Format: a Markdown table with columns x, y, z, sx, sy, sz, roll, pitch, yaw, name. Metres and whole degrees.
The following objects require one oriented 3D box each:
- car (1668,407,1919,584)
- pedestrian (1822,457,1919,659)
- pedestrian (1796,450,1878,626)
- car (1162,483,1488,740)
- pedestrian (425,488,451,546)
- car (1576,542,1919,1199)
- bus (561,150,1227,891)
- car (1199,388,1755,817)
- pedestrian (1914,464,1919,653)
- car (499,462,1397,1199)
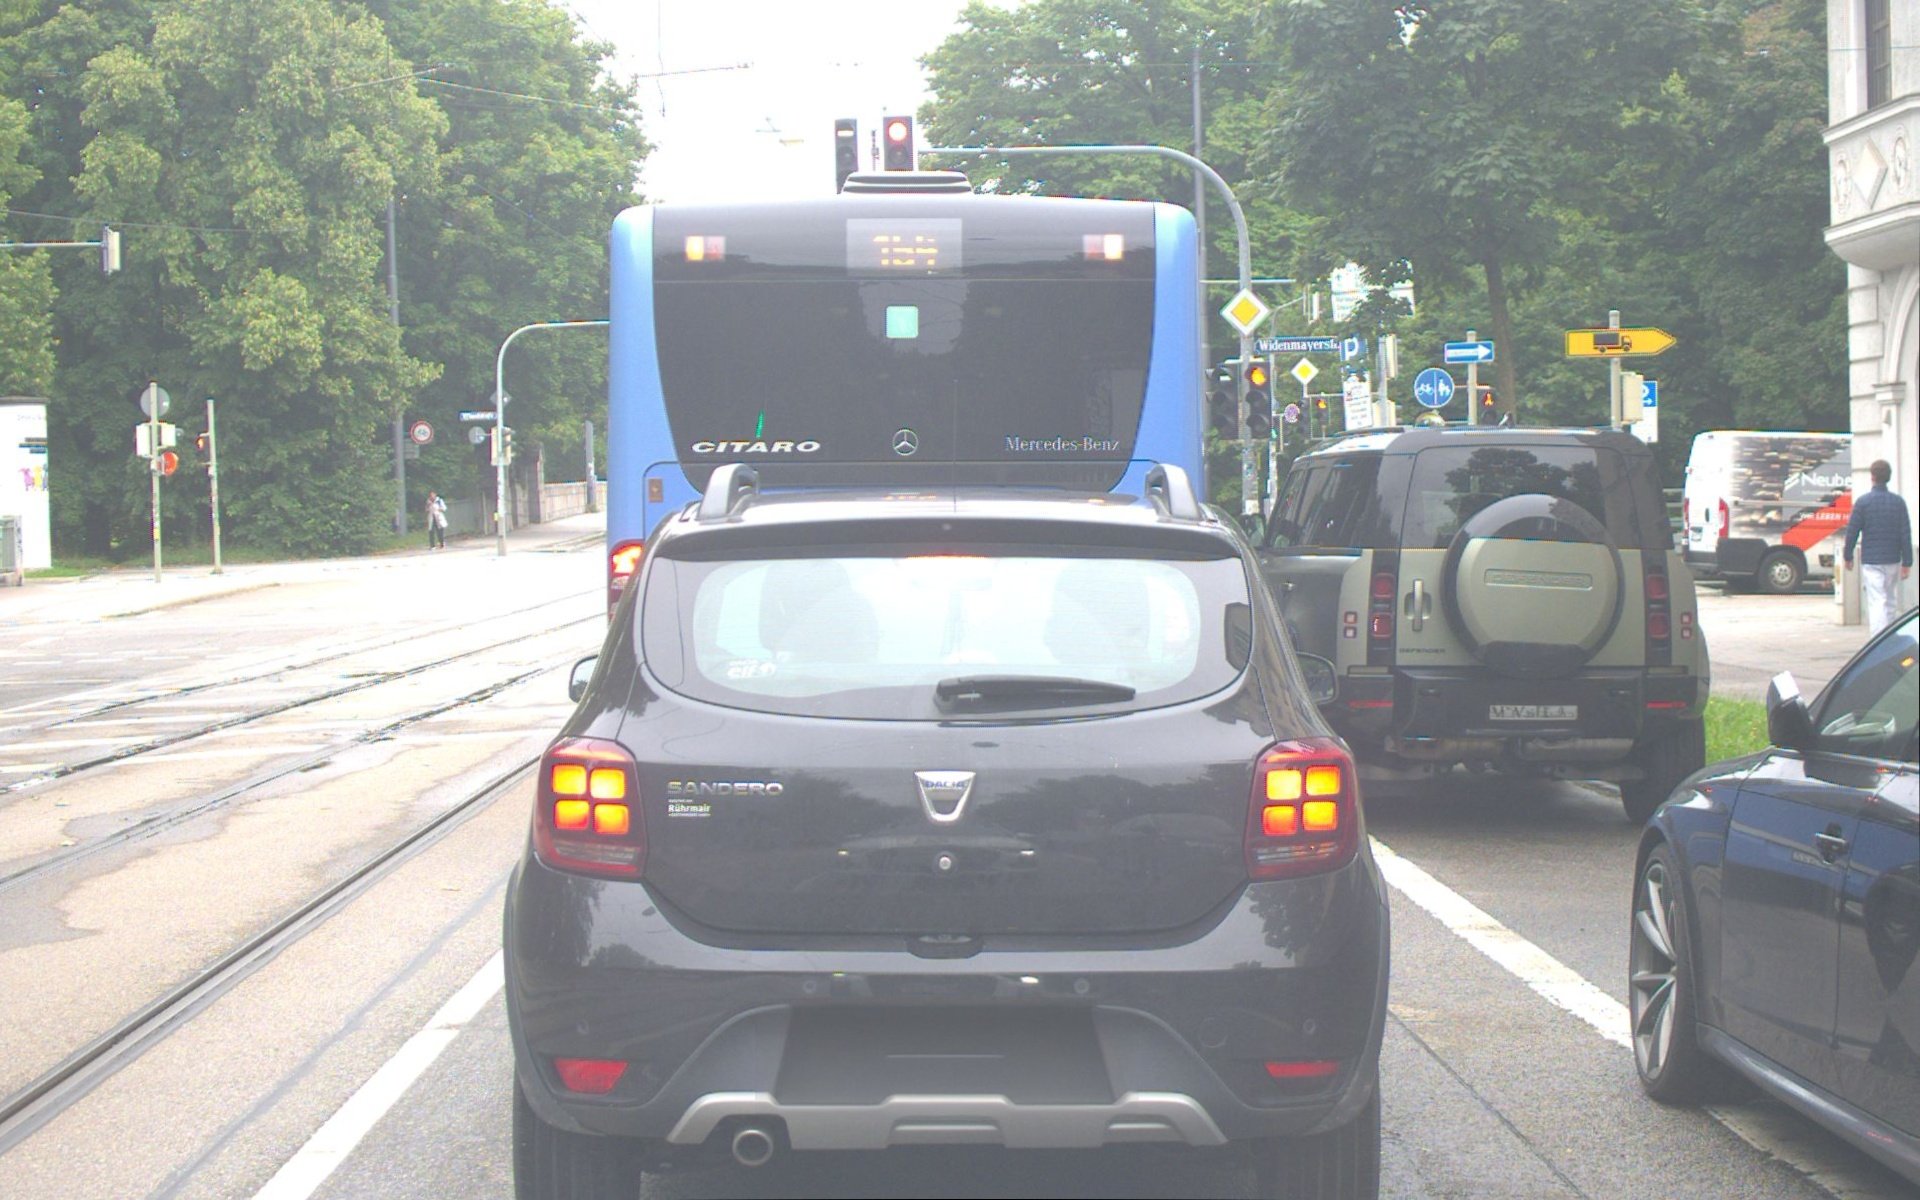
| x | y | z | sx | sy | sz | roll | pitch | yaw | name |
| --- | --- | --- | --- | --- | --- | --- | --- | --- | --- |
| 13.727 | -1.572 | 52.426 | 5.295 | 2.603 | 2.231 | 1 | 1 | -3 | car |
| 8.338 | -0.387 | 31.355 | 0.705 | 1.810 | 0.870 | 1 | 1 | -1 | pedestrian |
| 10.156 | -0.720 | 39.830 | 0.714 | 2.007 | 0.675 | -1 | 1 | -3 | pedestrian |
| 2.403 | 0.023 | 23.583 | 1.714 | 1.586 | 4.328 | 1 | 1 | -1 | car |
| -13.579 | -2.157 | 89.388 | 0.532 | 1.496 | 0.588 | 1 | 1 | 4 | pedestrian |
| 2.607 | 0.612 | 7.166 | 1.716 | 1.421 | 4.603 | 1 | 1 | -1 | car |
| -0.414 | -0.395 | 17.461 | 2.678 | 2.987 | 6.962 | 1 | 1 | -2 | bus |
| 2.481 | -0.040 | 17.776 | 1.914 | 1.899 | 4.809 | 1 | 1 | -3 | car |
| 9.121 | -0.366 | 31.114 | 0.705 | 1.726 | 0.843 | 1 | 1 | -1 | pedestrian |
| -0.059 | 0.496 | 7.939 | 1.600 | 1.551 | 3.525 | 1 | 1 | -1 | car |
